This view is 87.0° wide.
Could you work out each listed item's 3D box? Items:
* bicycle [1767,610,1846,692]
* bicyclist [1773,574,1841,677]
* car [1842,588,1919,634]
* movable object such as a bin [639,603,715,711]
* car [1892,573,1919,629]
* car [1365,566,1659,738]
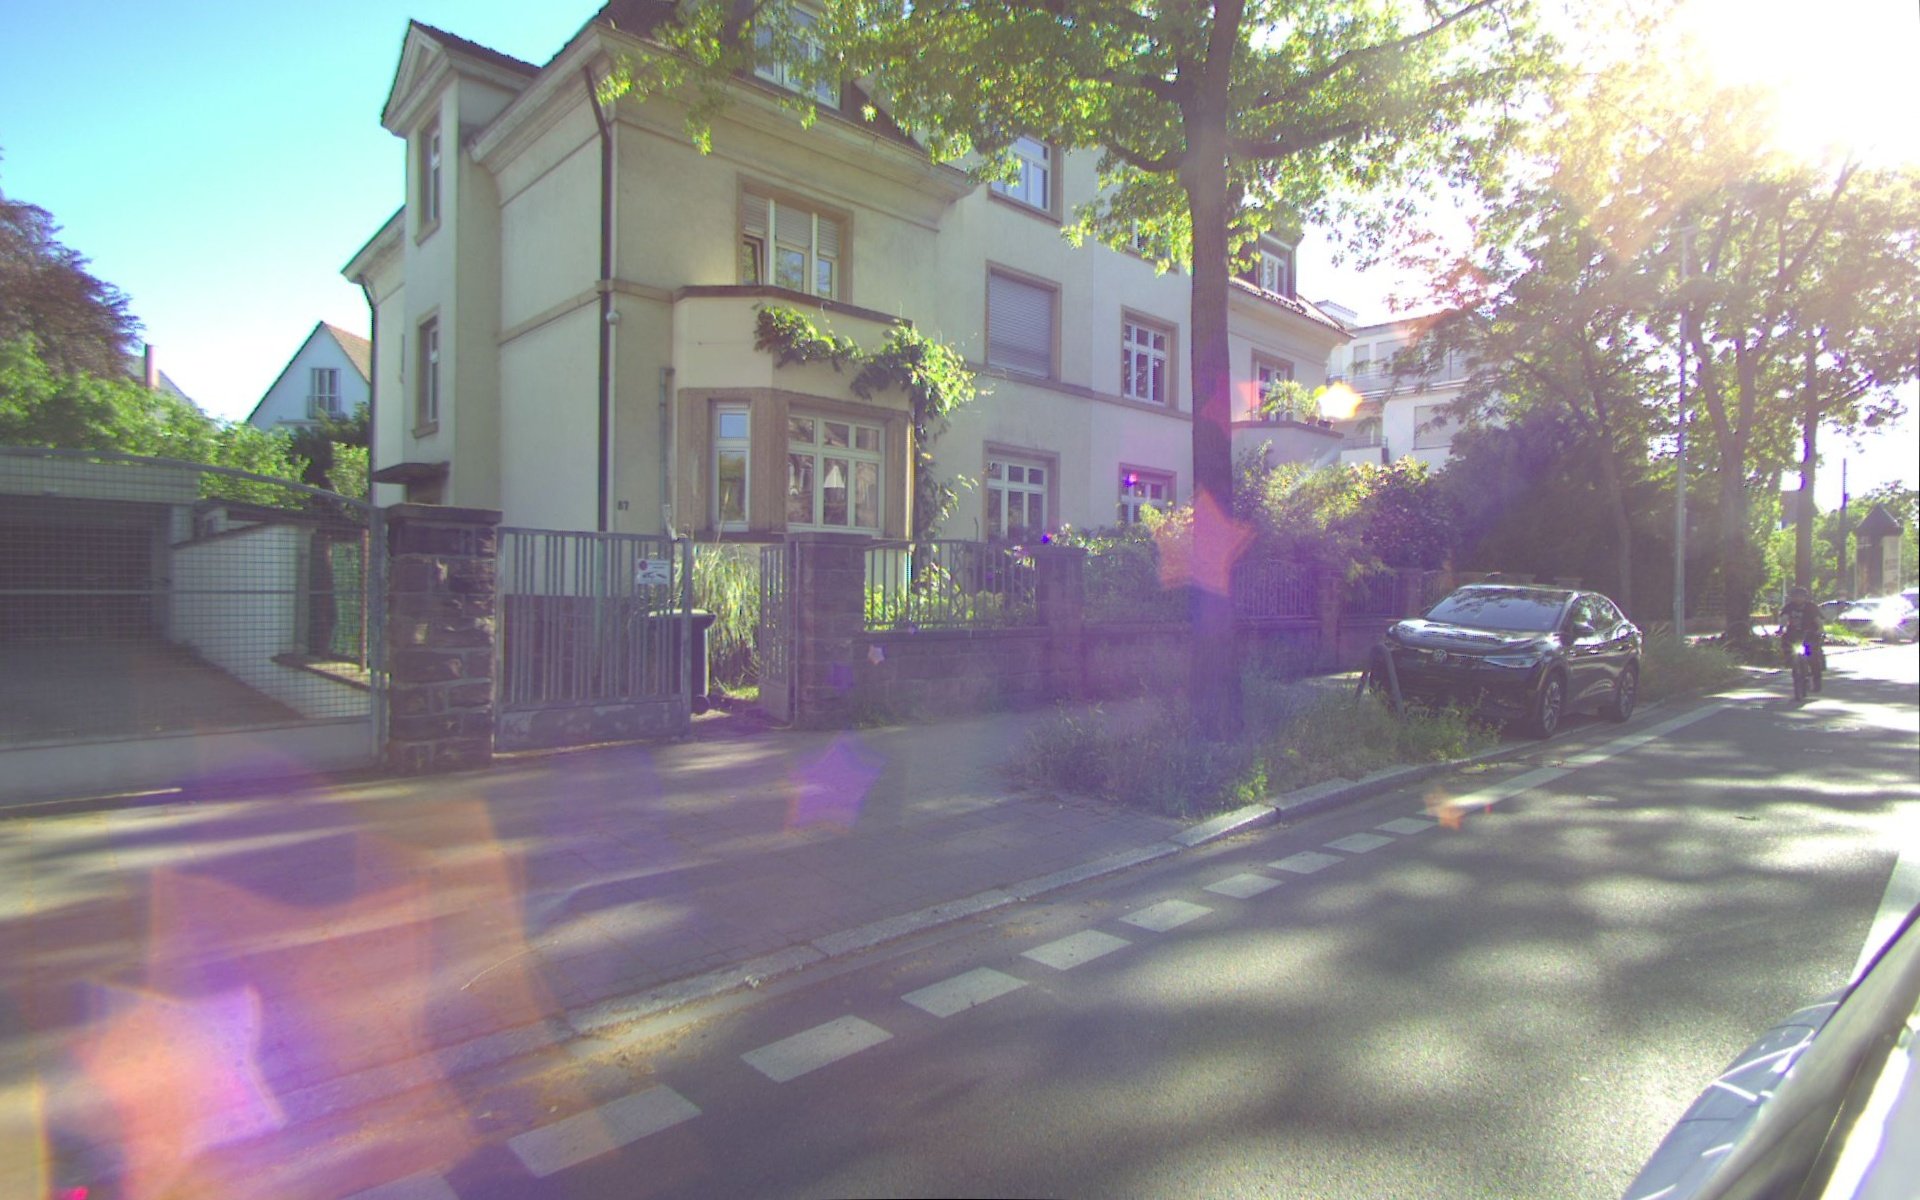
[{"bbox_3d":[12.921,0.748,15.432,1.783,1.158,0.644,0,0,-41],"label":"bicycle"},{"bbox_3d":[12.938,0.370,15.451,1.095,1.506,0.622,1,-1,-41],"label":"bicyclist"},{"bbox_3d":[31.543,0.334,34.416,3.930,1.469,1.785,0,1,-41],"label":"car"},{"bbox_3d":[-3.049,0.577,10.841,0.697,1.070,1.093,0,0,-20],"label":"movable object such as a bin"},{"bbox_3d":[36.779,0.046,38.077,4.503,2.039,1.997,0,1,-41],"label":"car"},{"bbox_3d":[6.663,0.494,12.046,4.021,1.626,1.743,0,4,-42],"label":"car"}]
